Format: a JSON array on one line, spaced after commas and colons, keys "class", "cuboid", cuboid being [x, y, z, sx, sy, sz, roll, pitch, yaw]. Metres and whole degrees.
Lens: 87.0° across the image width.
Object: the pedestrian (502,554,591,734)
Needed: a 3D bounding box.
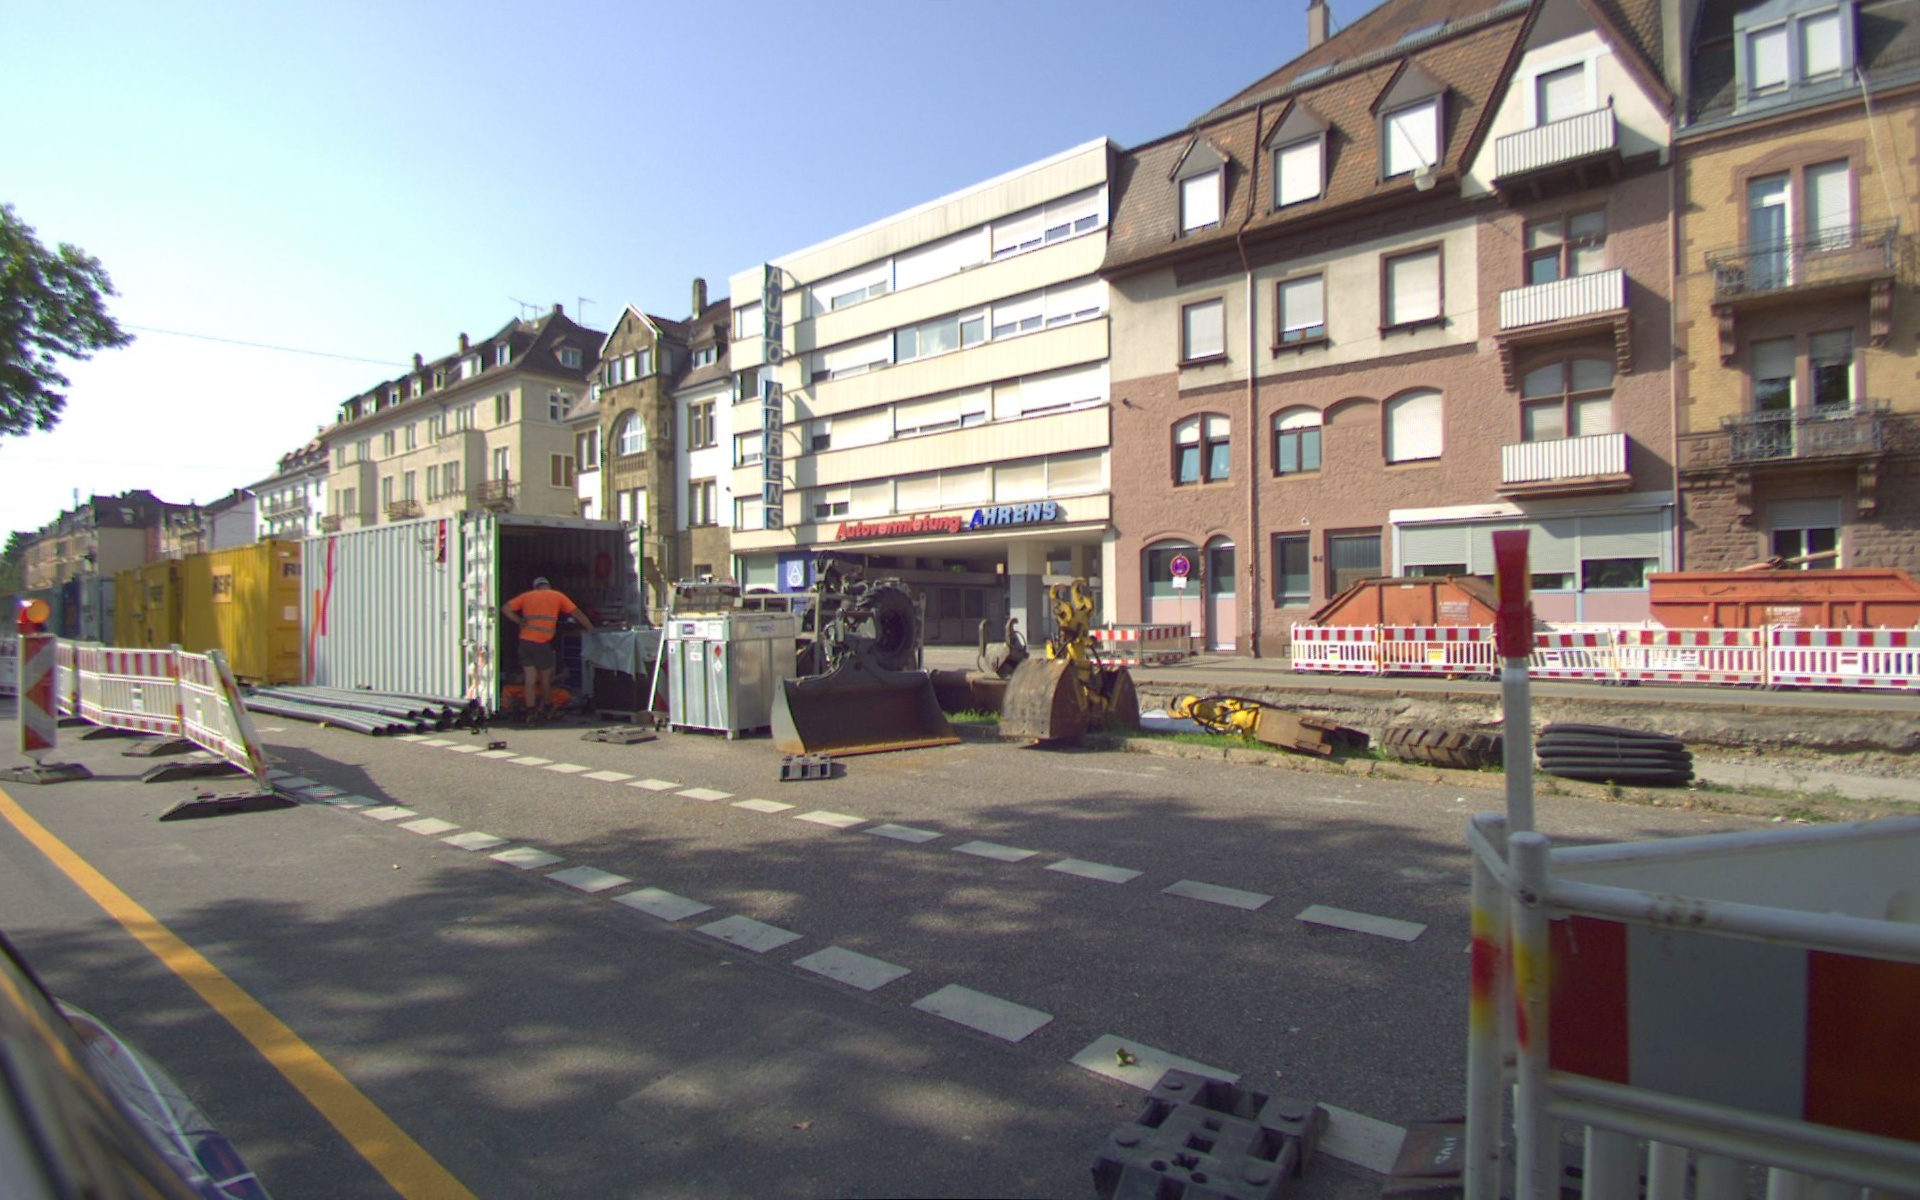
[{"class": "pedestrian", "cuboid": [-4.903, 0.486, 12.019, 0.896, 2.029, 0.915, -2, 1, -23]}]
